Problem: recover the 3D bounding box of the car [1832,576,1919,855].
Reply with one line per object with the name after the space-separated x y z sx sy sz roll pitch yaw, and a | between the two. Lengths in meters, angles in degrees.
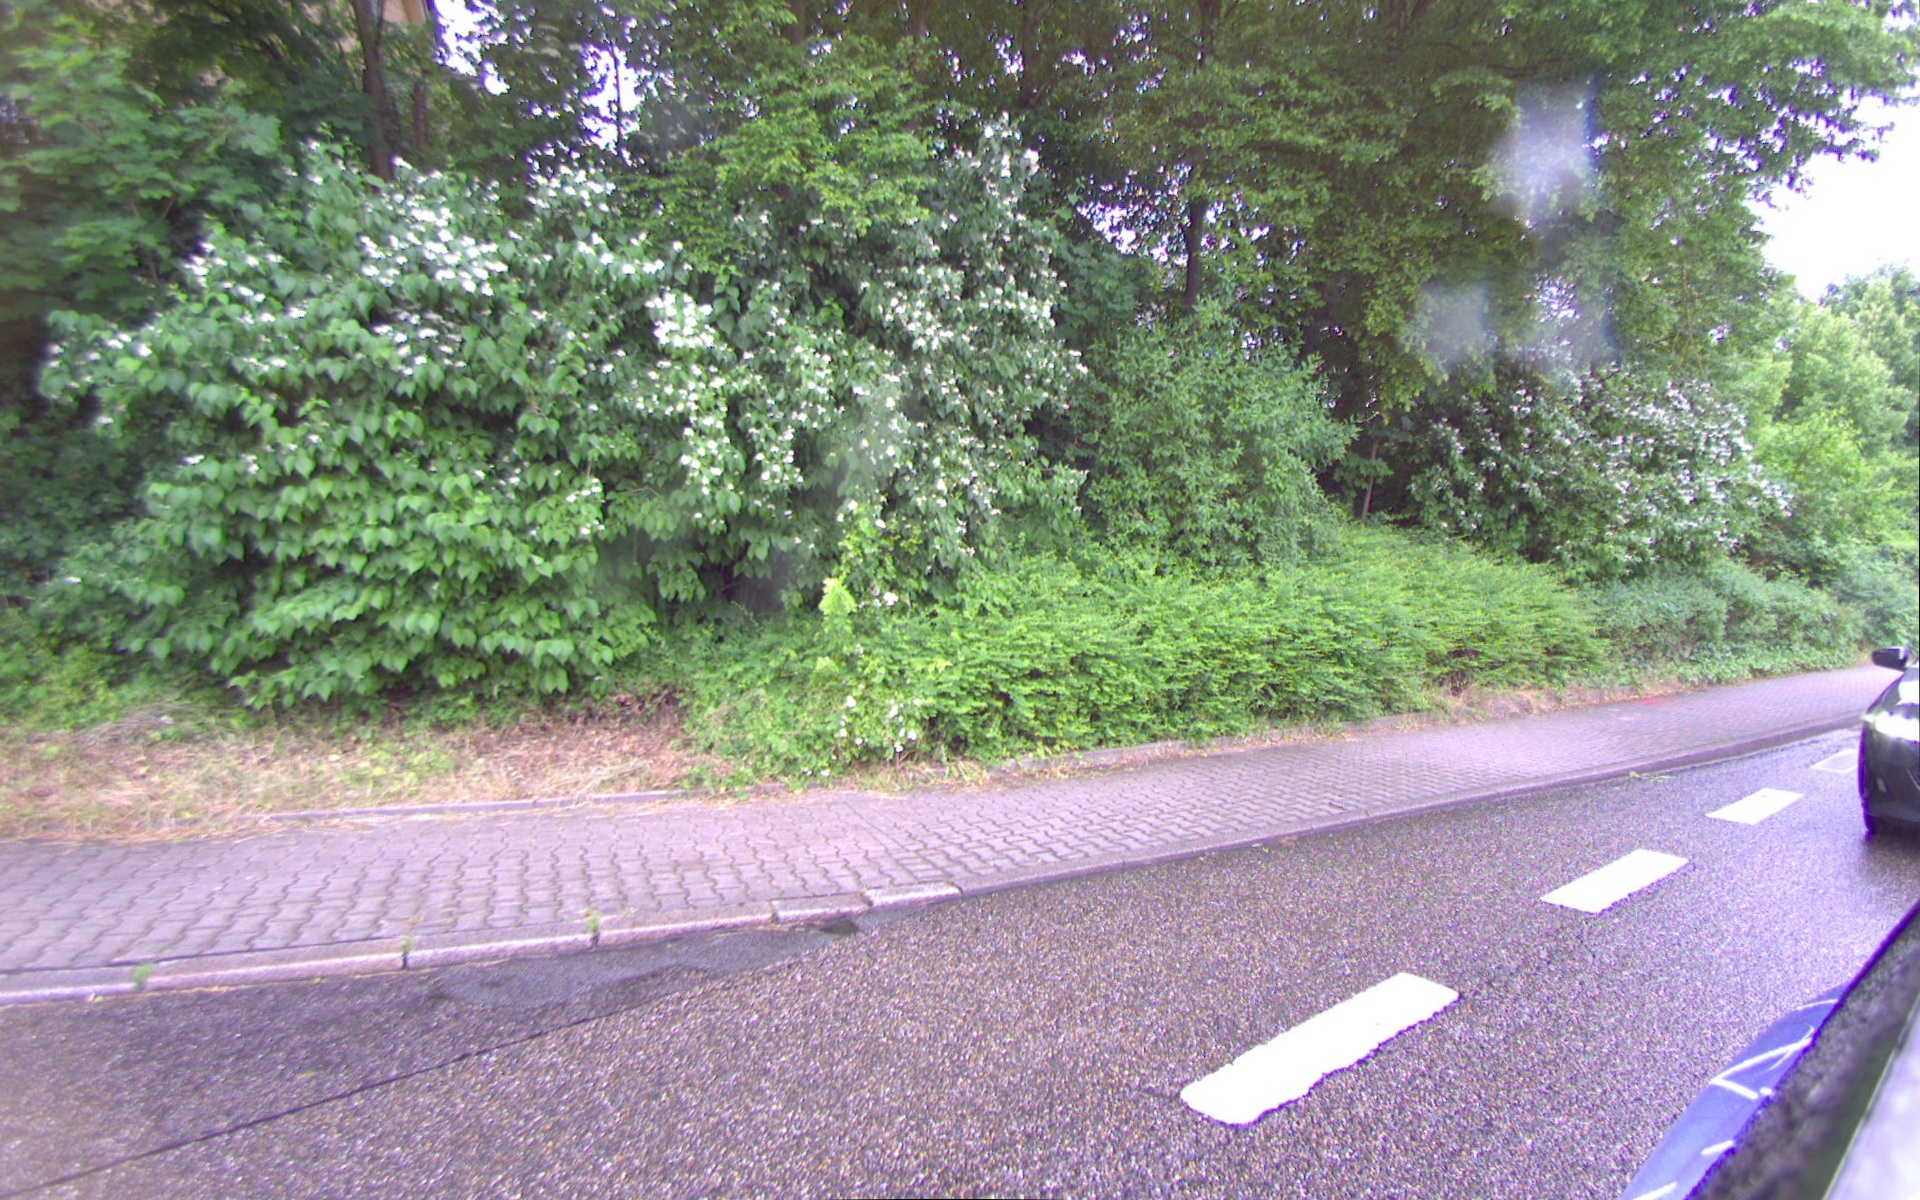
7.268 0.659 6.387 4.121 1.524 1.873 -1 4 -38 | car
